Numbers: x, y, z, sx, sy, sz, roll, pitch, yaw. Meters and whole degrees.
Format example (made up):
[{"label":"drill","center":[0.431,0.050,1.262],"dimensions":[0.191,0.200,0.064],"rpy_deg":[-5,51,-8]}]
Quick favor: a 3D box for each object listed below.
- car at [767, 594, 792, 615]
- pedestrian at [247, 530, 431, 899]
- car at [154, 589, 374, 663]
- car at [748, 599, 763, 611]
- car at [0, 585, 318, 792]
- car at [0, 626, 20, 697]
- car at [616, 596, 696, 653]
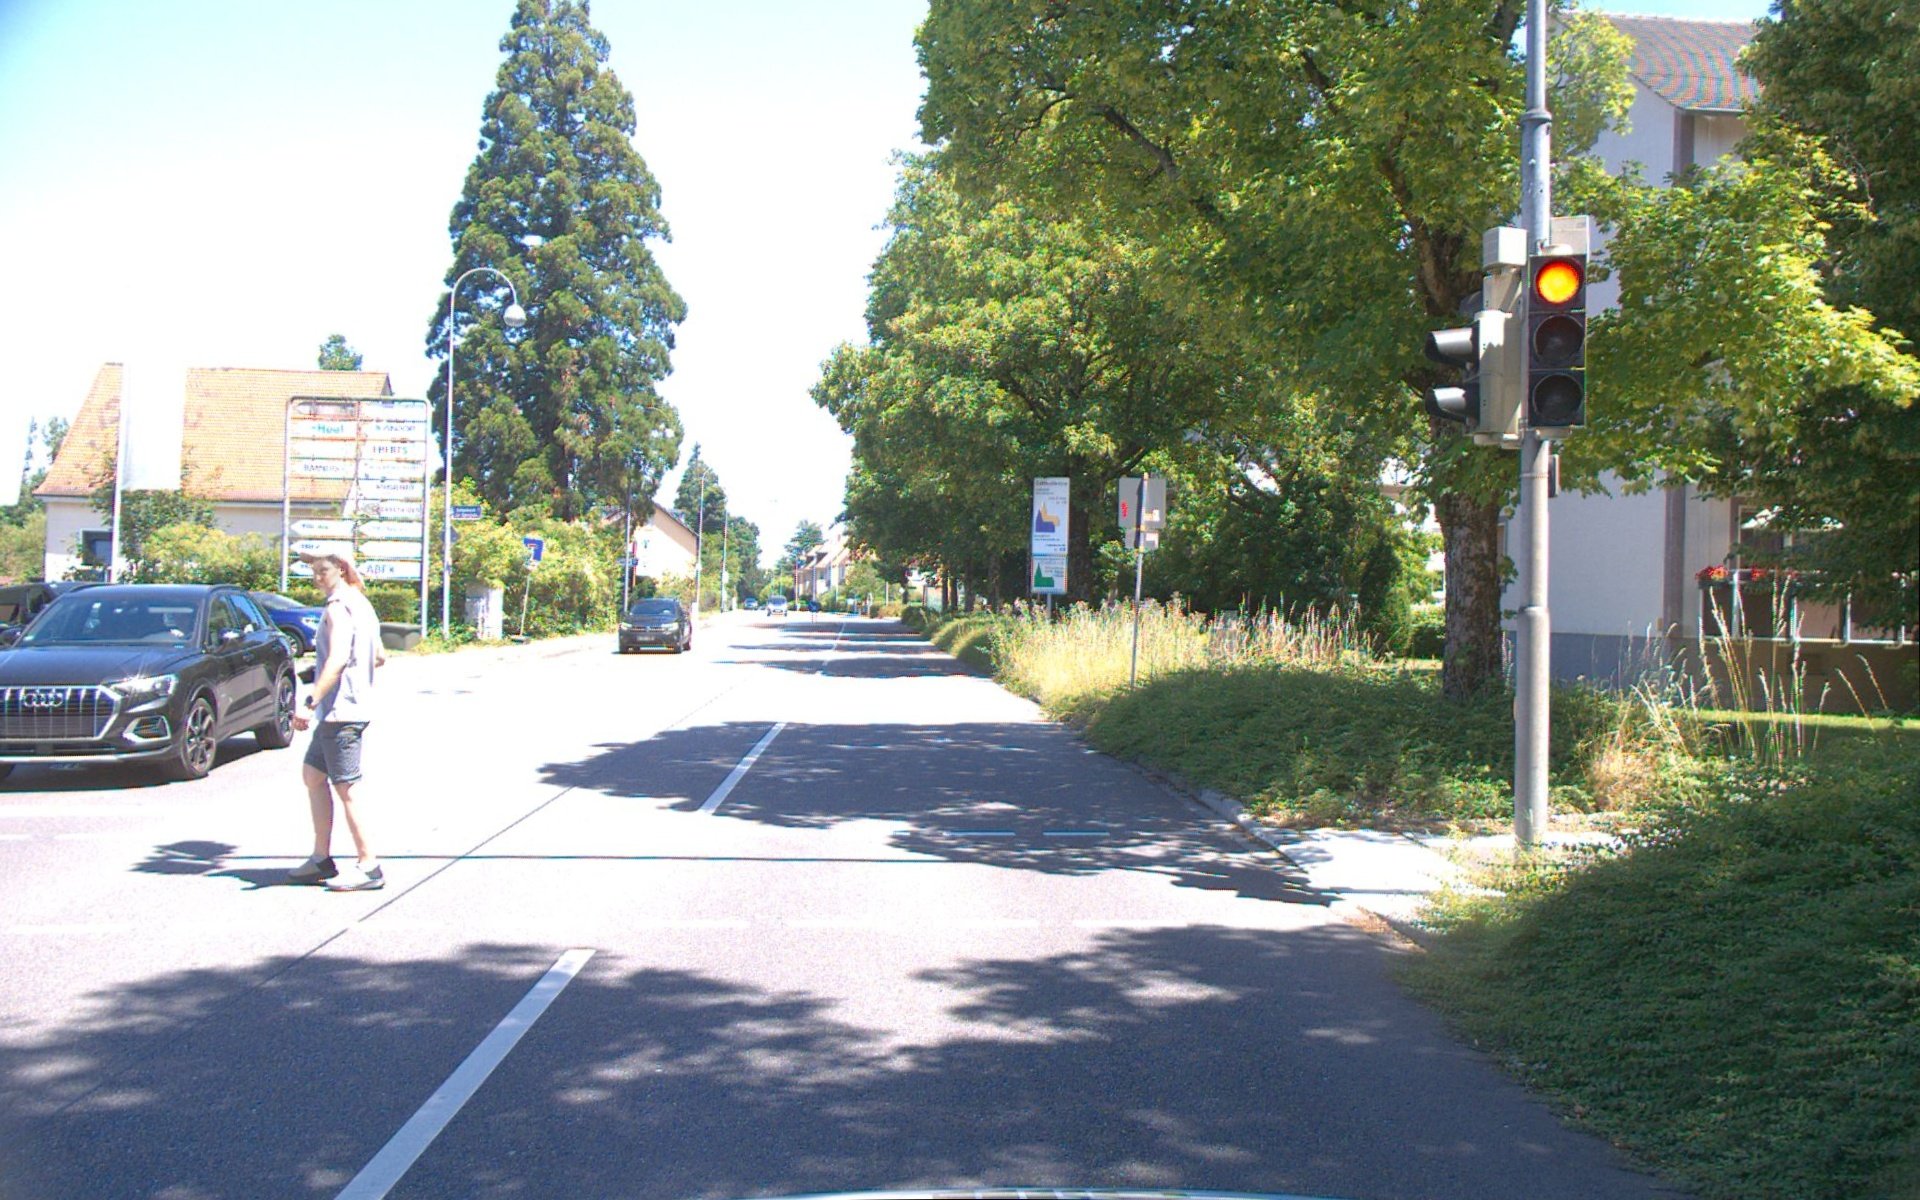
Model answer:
[{"label":"car","center":[-15.912,0.356,145.902],"dimensions":[1.774,1.793,4.569],"rpy_deg":[2,0,-1]},{"label":"pedestrian","center":[-3.165,0.555,8.463],"dimensions":[0.532,1.792,0.702],"rpy_deg":[0,0,25]},{"label":"car","center":[-15.056,0.545,35.893],"dimensions":[4.047,1.531,1.779],"rpy_deg":[0,0,8]},{"label":"car","center":[-28.102,0.700,227.624],"dimensions":[1.786,1.579,3.996],"rpy_deg":[0,0,-4]},{"label":"car","center":[-7.279,0.674,14.764],"dimensions":[1.890,1.582,4.295],"rpy_deg":[0,0,-8]},{"label":"car","center":[-24.600,1.533,40.085],"dimensions":[1.775,1.752,4.081],"rpy_deg":[1,0,-8]},{"label":"car","center":[-8.585,0.662,46.989],"dimensions":[1.832,1.533,4.049],"rpy_deg":[0,0,-5]}]
